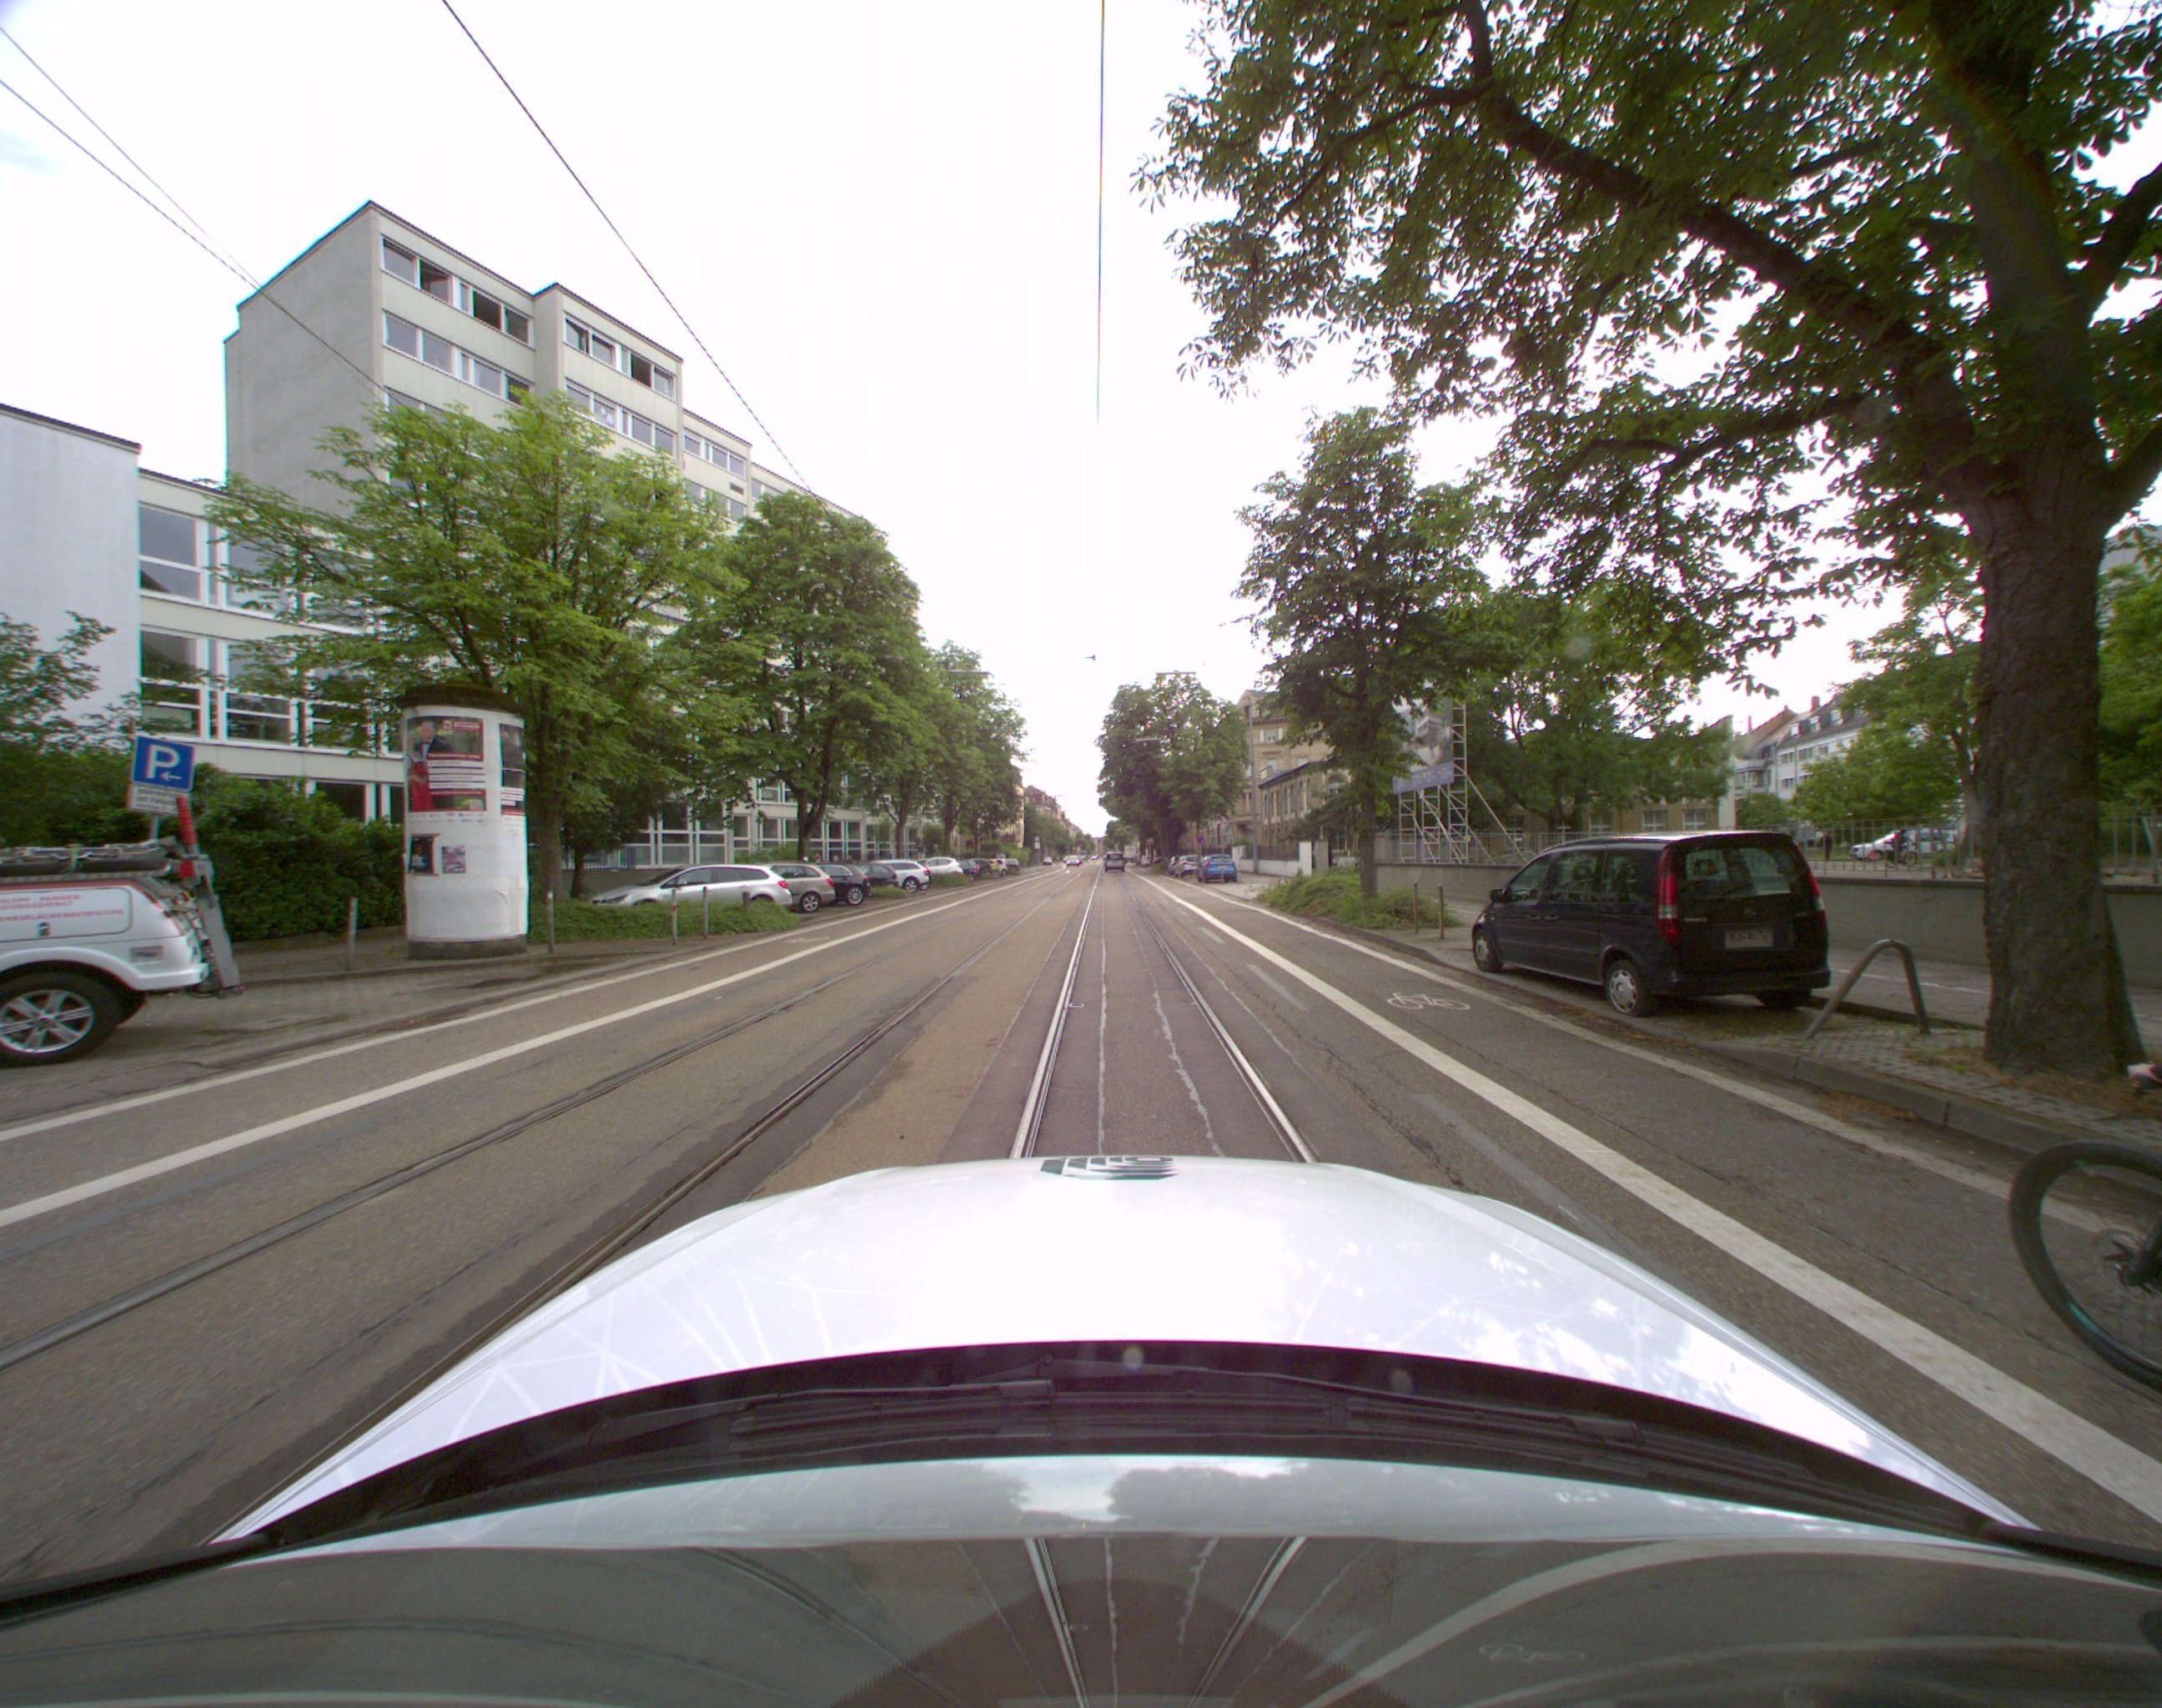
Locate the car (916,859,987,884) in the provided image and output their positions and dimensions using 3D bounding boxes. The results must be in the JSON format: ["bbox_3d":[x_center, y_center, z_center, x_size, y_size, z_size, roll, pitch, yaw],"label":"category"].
[{"bbox_3d":[-8.397,1.091,53.009,4.371,1.535,1.679,0,0,-44],"label":"car"}]

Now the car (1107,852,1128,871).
[{"bbox_3d":[3.401,0.669,75.748,1.803,1.708,3.703,-1,-1,4],"label":"car"}]

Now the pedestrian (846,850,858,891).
[{"bbox_3d":[-11.385,0.811,40.543,0.463,2.013,0.854,-1,0,-13],"label":"pedestrian"}]

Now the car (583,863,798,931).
[{"bbox_3d":[-9.491,0.974,20.102,1.780,1.465,4.459,-1,-1,41],"label":"car"}]

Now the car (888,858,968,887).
[{"bbox_3d":[-8.669,1.008,46.438,1.678,1.556,4.373,0,0,43],"label":"car"}]

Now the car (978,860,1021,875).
[{"bbox_3d":[-7.690,1.281,76.522,3.723,1.386,1.687,0,0,-23],"label":"car"}]

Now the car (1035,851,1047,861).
[{"bbox_3d":[-8.812,0.389,178.633,2.169,2.207,4.221,-2,0,2],"label":"car"}]

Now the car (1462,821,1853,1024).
[{"bbox_3d":[6.133,0.637,9.358,1.648,1.812,4.085,0,-1,1],"label":"car"}]

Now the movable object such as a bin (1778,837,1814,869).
[{"bbox_3d":[34.411,-0.061,39.207,1.042,1.450,1.363,-1,2,29],"label":"movable object such as a bin"}]

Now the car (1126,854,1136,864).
[{"bbox_3d":[9.843,0.997,160.062,1.877,1.846,4.001,0,-1,1],"label":"car"}]

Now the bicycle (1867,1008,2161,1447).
[{"bbox_3d":[3.029,1.043,1.904,0.487,0.979,2.059,0,0,3],"label":"bicycle"}]

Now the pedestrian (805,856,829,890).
[{"bbox_3d":[-12.873,0.924,39.700,0.746,1.612,0.738,0,-2,25],"label":"pedestrian"}]

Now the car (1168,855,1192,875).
[{"bbox_3d":[7.506,0.814,61.773,1.470,1.429,3.566,0,0,1],"label":"car"}]

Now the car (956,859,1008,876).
[{"bbox_3d":[-7.958,1.081,65.790,3.991,1.352,1.679,0,0,-44],"label":"car"}]

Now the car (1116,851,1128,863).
[{"bbox_3d":[7.445,0.520,147.796,1.987,2.013,3.999,0,0,0],"label":"car"}]

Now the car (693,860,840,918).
[{"bbox_3d":[-9.055,0.940,23.599,3.671,1.524,1.554,0,0,-43],"label":"car"}]

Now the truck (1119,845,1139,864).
[{"bbox_3d":[10.429,0.040,177.084,3.796,4.029,10.215,0,0,0],"label":"truck"}]

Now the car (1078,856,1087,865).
[{"bbox_3d":[0.326,1.658,217.529,2.197,2.255,4.001,-2,0,2],"label":"car"}]

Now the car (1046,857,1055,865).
[{"bbox_3d":[-5.697,1.291,153.371,1.637,1.354,3.874,0,0,-2],"label":"car"}]

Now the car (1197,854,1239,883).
[{"bbox_3d":[7.160,0.747,42.823,1.668,1.460,3.433,0,0,1],"label":"car"}]

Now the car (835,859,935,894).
[{"bbox_3d":[-8.817,0.957,36.729,4.046,1.484,1.681,0,0,-37],"label":"car"}]

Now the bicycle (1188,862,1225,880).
[{"bbox_3d":[7.324,0.980,47.570,2.007,0.957,0.533,-2,0,-3],"label":"bicycle"}]

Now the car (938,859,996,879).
[{"bbox_3d":[-8.319,1.066,59.452,3.991,1.352,1.679,0,0,-44],"label":"car"}]

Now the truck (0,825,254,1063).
[{"bbox_3d":[-9.952,0.708,6.169,5.092,1.848,1.976,0,0,-43],"label":"truck"}]

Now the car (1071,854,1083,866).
[{"bbox_3d":[-0.808,1.223,174.602,2.194,2.417,4.006,-2,0,5],"label":"car"}]

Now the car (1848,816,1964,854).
[{"bbox_3d":[47.309,-1.065,46.835,4.298,2.014,1.865,-1,-1,24],"label":"car"}]

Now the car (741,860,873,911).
[{"bbox_3d":[-8.866,0.969,26.529,3.726,1.524,1.679,0,0,-43],"label":"car"}]

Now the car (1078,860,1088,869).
[{"bbox_3d":[0.316,1.765,138.557,1.670,1.522,2.783,-1,-1,2],"label":"car"}]

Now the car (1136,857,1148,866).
[{"bbox_3d":[9.300,1.131,123.634,1.762,1.399,3.799,-2,0,4],"label":"car"}]

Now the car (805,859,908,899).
[{"bbox_3d":[-9.135,0.993,33.301,3.726,1.524,1.679,0,0,-43],"label":"car"}]

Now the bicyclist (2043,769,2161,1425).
[{"bbox_3d":[2.954,0.590,1.752,0.655,1.610,0.920,-1,0,3],"label":"bicyclist"}]

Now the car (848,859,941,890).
[{"bbox_3d":[-9.014,0.944,39.497,4.046,1.405,1.681,0,0,-37],"label":"car"}]

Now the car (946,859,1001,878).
[{"bbox_3d":[-8.247,1.106,62.797,3.991,1.352,1.679,0,0,-44],"label":"car"}]

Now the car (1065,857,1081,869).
[{"bbox_3d":[-1.143,1.260,115.158,1.892,1.530,3.757,-3,0,3],"label":"car"}]

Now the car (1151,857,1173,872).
[{"bbox_3d":[7.597,0.972,76.413,1.865,1.251,4.004,-2,0,4],"label":"car"}]

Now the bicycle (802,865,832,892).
[{"bbox_3d":[-12.878,1.187,39.786,0.401,1.268,1.605,-1,-2,25],"label":"bicycle"}]

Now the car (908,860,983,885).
[{"bbox_3d":[-8.258,1.097,49.777,4.371,1.454,1.679,0,0,-44],"label":"car"}]

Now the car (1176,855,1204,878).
[{"bbox_3d":[7.289,0.791,54.718,1.470,1.481,3.566,0,0,1],"label":"car"}]

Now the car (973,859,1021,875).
[{"bbox_3d":[-7.327,1.081,70.953,3.991,1.352,1.679,0,0,-44],"label":"car"}]

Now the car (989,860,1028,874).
[{"bbox_3d":[-7.357,1.275,82.632,3.723,1.386,1.687,0,0,-23],"label":"car"}]
